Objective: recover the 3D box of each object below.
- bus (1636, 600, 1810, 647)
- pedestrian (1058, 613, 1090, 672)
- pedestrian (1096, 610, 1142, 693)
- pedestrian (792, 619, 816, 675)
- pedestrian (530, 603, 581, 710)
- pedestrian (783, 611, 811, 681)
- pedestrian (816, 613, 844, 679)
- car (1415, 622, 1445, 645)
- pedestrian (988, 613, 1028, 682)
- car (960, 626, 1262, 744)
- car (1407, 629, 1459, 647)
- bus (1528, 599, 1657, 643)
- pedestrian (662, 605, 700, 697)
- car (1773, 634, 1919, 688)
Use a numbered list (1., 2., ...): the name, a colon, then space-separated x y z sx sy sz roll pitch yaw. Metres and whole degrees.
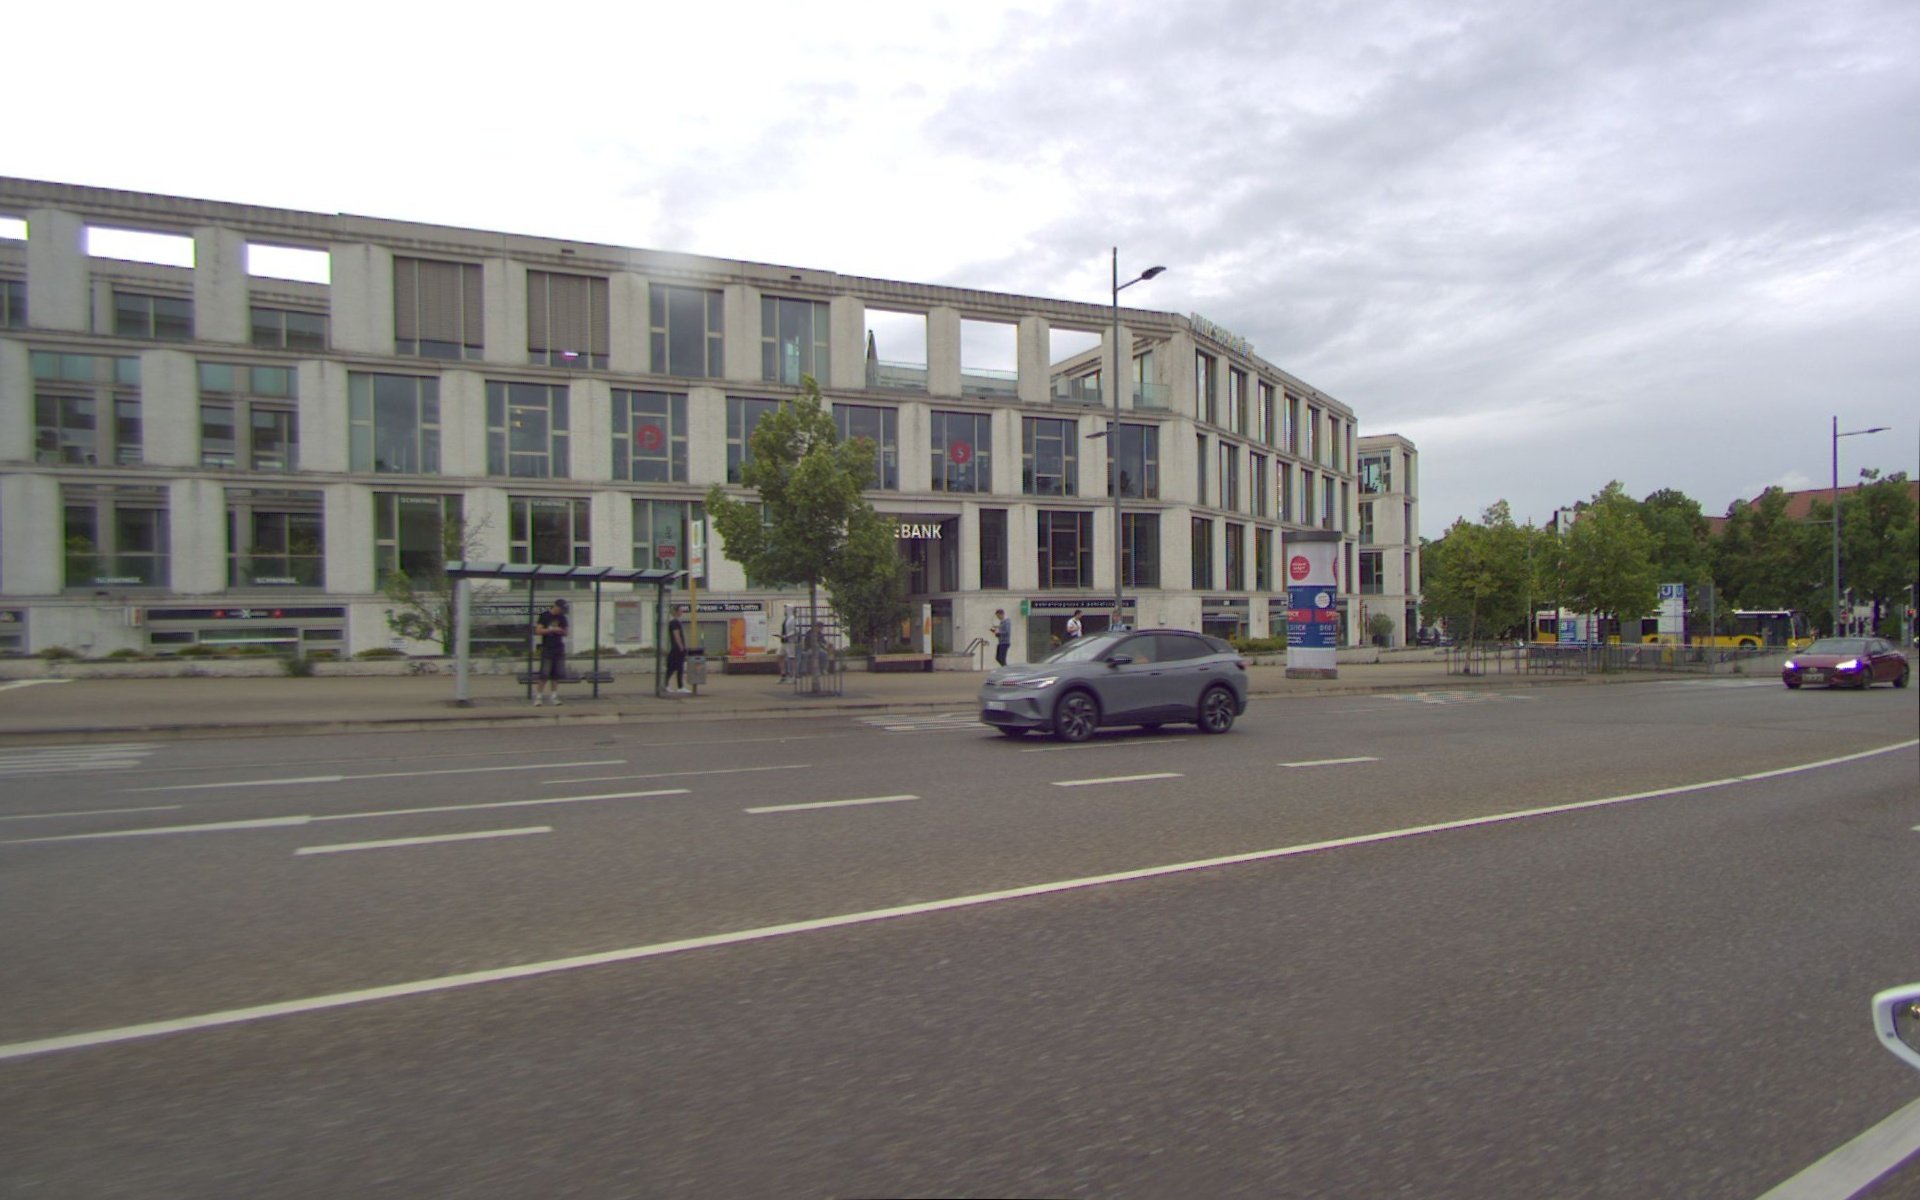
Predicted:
1. bus: 54.480 1.685 72.157 2.861 3.144 9.688 1 -2 -28
2. pedestrian: 3.377 1.249 29.812 0.492 1.712 0.910 0 -1 43
3. pedestrian: 3.661 1.165 23.107 0.737 1.866 0.750 1 -1 -28
4. pedestrian: -4.134 1.229 26.576 0.504 1.470 0.424 1 -1 -30
5. pedestrian: -7.250 0.999 17.995 0.747 1.866 0.505 1 -1 -31
6. pedestrian: -4.154 1.171 25.619 0.559 1.748 0.522 1 -1 -28
7. pedestrian: -3.499 1.216 26.939 0.613 1.748 0.424 1 -1 -30
8. car: 37.900 2.705 81.010 1.748 1.754 3.991 -1 -2 32
9. pedestrian: 1.256 1.233 26.199 0.846 1.785 0.596 1 -1 -28
10. car: 2.396 1.286 15.620 4.540 1.592 1.824 2 -4 -30
11. car: 42.322 3.386 89.899 1.649 1.444 3.947 1 -1 -31
12. bus: 50.343 1.722 80.260 2.860 3.351 8.517 1 -2 -27
13. pedestrian: -5.827 1.055 20.952 0.600 1.880 0.577 1 -1 -32
14. car: 25.458 1.720 28.840 4.413 1.435 1.824 1 -4 -30
